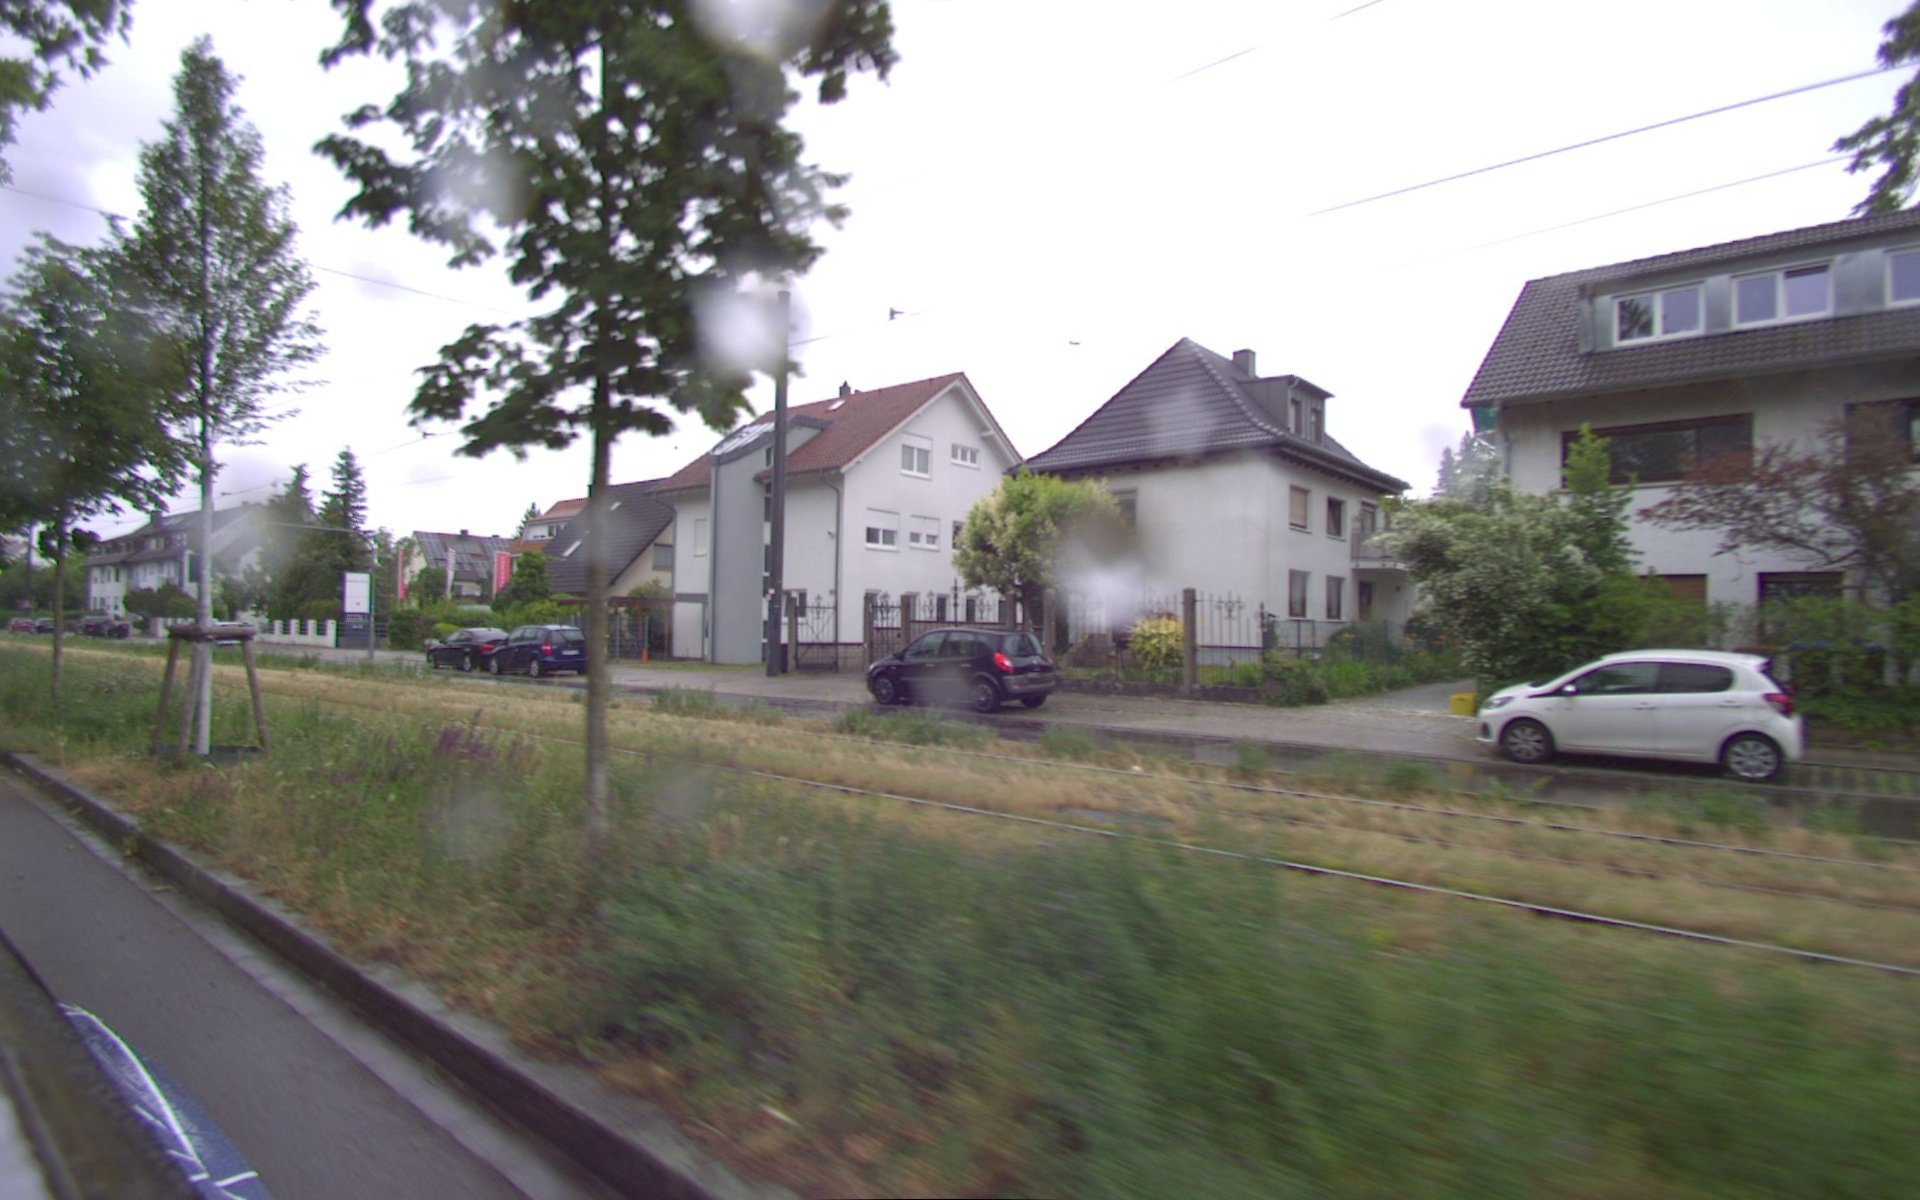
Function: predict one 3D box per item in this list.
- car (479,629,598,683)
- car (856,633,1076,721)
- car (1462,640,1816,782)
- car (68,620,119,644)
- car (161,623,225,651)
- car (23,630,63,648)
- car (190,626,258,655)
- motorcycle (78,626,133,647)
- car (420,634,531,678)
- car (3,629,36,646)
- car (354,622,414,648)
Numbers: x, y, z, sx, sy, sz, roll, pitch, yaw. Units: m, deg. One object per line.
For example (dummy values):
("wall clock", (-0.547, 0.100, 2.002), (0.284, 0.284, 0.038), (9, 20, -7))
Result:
("car", (-13.271, 1.698, 31.777), (3.866, 1.562, 1.855), (-1, -1, 40))
("car", (0.052, 1.465, 20.513), (4.203, 1.528, 1.973), (-1, -1, 41))
("car", (8.657, 1.299, 13.039), (3.595, 1.500, 1.777), (-1, -1, 41))
("car", (-63.328, 2.335, 73.960), (4.381, 1.687, 1.975), (-1, -2, 38))
("car", (-42.993, 2.041, 56.698), (4.529, 1.467, 1.973), (-1, -1, 41))
("car", (-76.506, 3.213, 84.434), (4.759, 1.421, 1.973), (-1, -1, 41))
("car", (-39.019, 2.117, 53.613), (3.967, 1.421, 1.974), (-1, -1, 39))
("motorcycle", (-59.535, 2.531, 70.526), (2.645, 1.421, 1.269), (1, 0, -9))
("car", (-16.727, 1.869, 34.862), (4.238, 1.361, 1.973), (-1, -1, 41))
("car", (-85.279, 3.422, 91.751), (3.998, 1.468, 1.779), (-1, -1, 41))
("car", (-33.203, 2.001, 58.276), (3.967, 1.421, 1.682), (-1, -1, 39))
